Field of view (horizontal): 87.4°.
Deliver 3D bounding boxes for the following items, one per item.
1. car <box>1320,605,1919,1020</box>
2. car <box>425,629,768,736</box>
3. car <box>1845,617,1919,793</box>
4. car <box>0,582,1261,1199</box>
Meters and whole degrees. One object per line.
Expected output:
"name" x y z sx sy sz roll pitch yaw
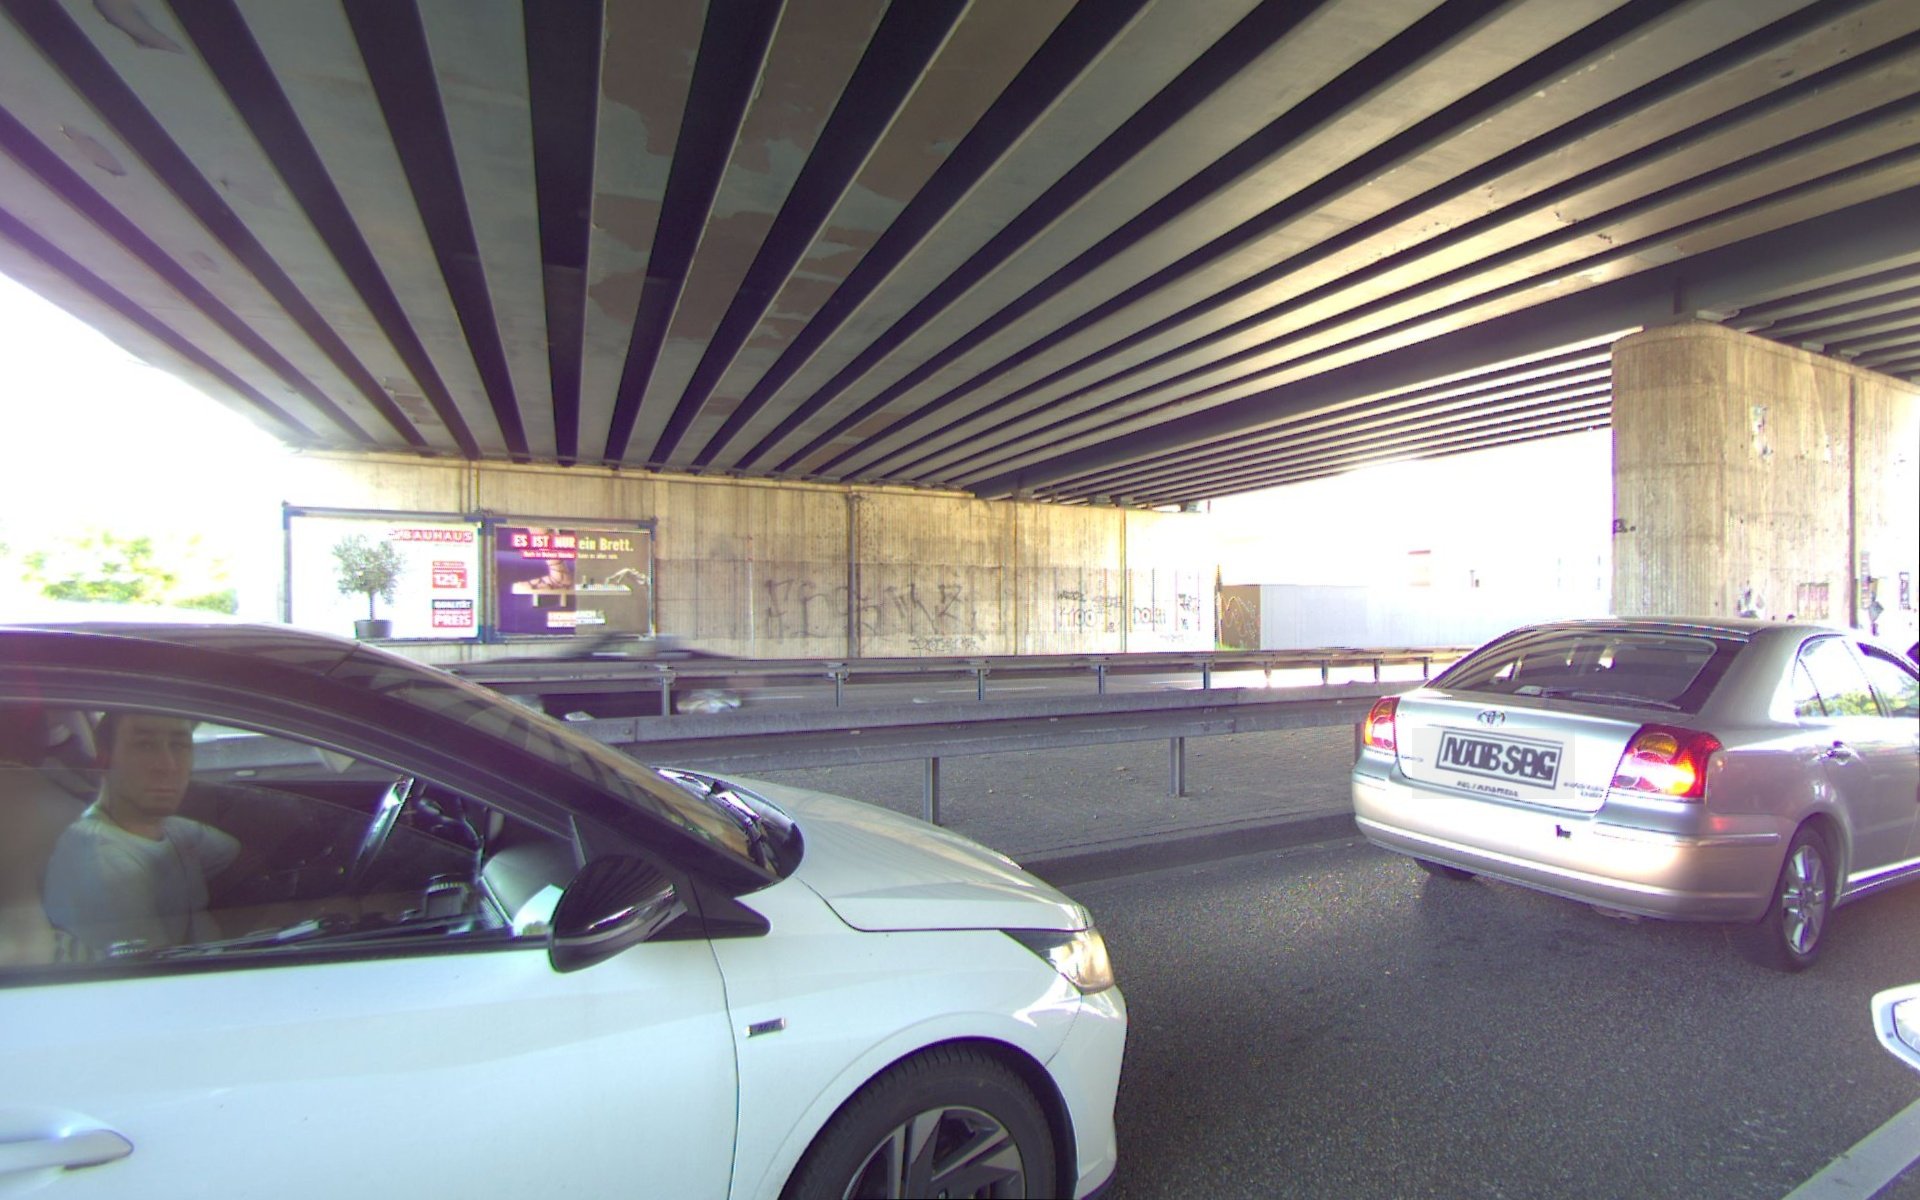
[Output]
"car" 4.119 0.809 5.477 4.347 1.474 1.688 1 0 -31
"car" -4.660 0.982 13.051 3.955 1.191 1.675 1 -2 -32
"car" 9.630 0.900 8.880 3.770 1.429 1.683 1 0 -32
"car" -1.406 0.708 1.988 3.829 1.422 1.722 2 0 -32
